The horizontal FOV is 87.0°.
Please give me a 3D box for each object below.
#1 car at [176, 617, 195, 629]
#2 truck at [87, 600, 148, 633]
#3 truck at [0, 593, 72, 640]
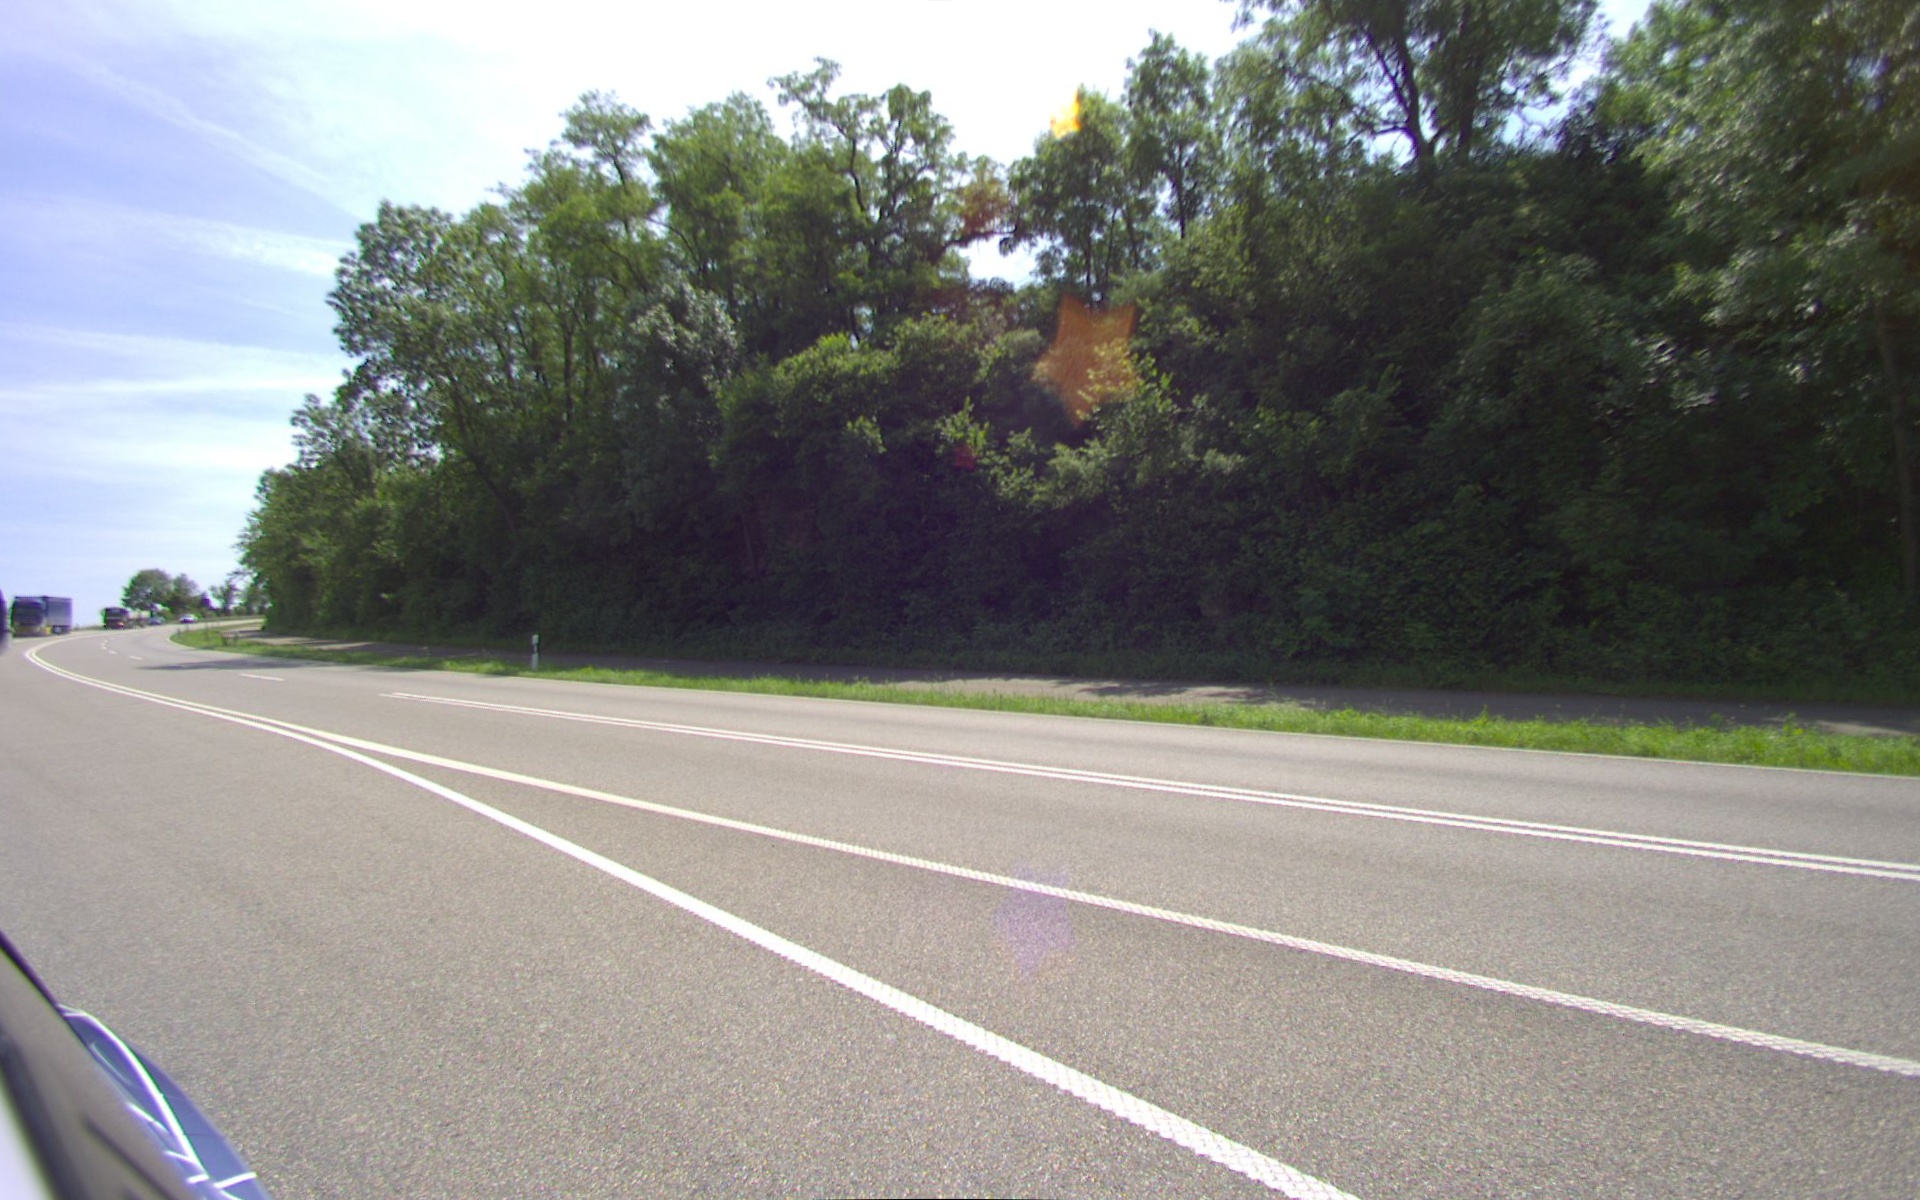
[{"bbox_3d":[-136.271,4.053,178.009,1.826,2.029,3.901,0,0,-25],"label":"car"},{"bbox_3d":[-119.701,2.341,144.096,3.921,4.493,14.385,-1,-1,-28],"label":"truck"},{"bbox_3d":[-94.733,1.726,103.013,4.327,4.493,14.753,-1,-1,-33],"label":"truck"}]
